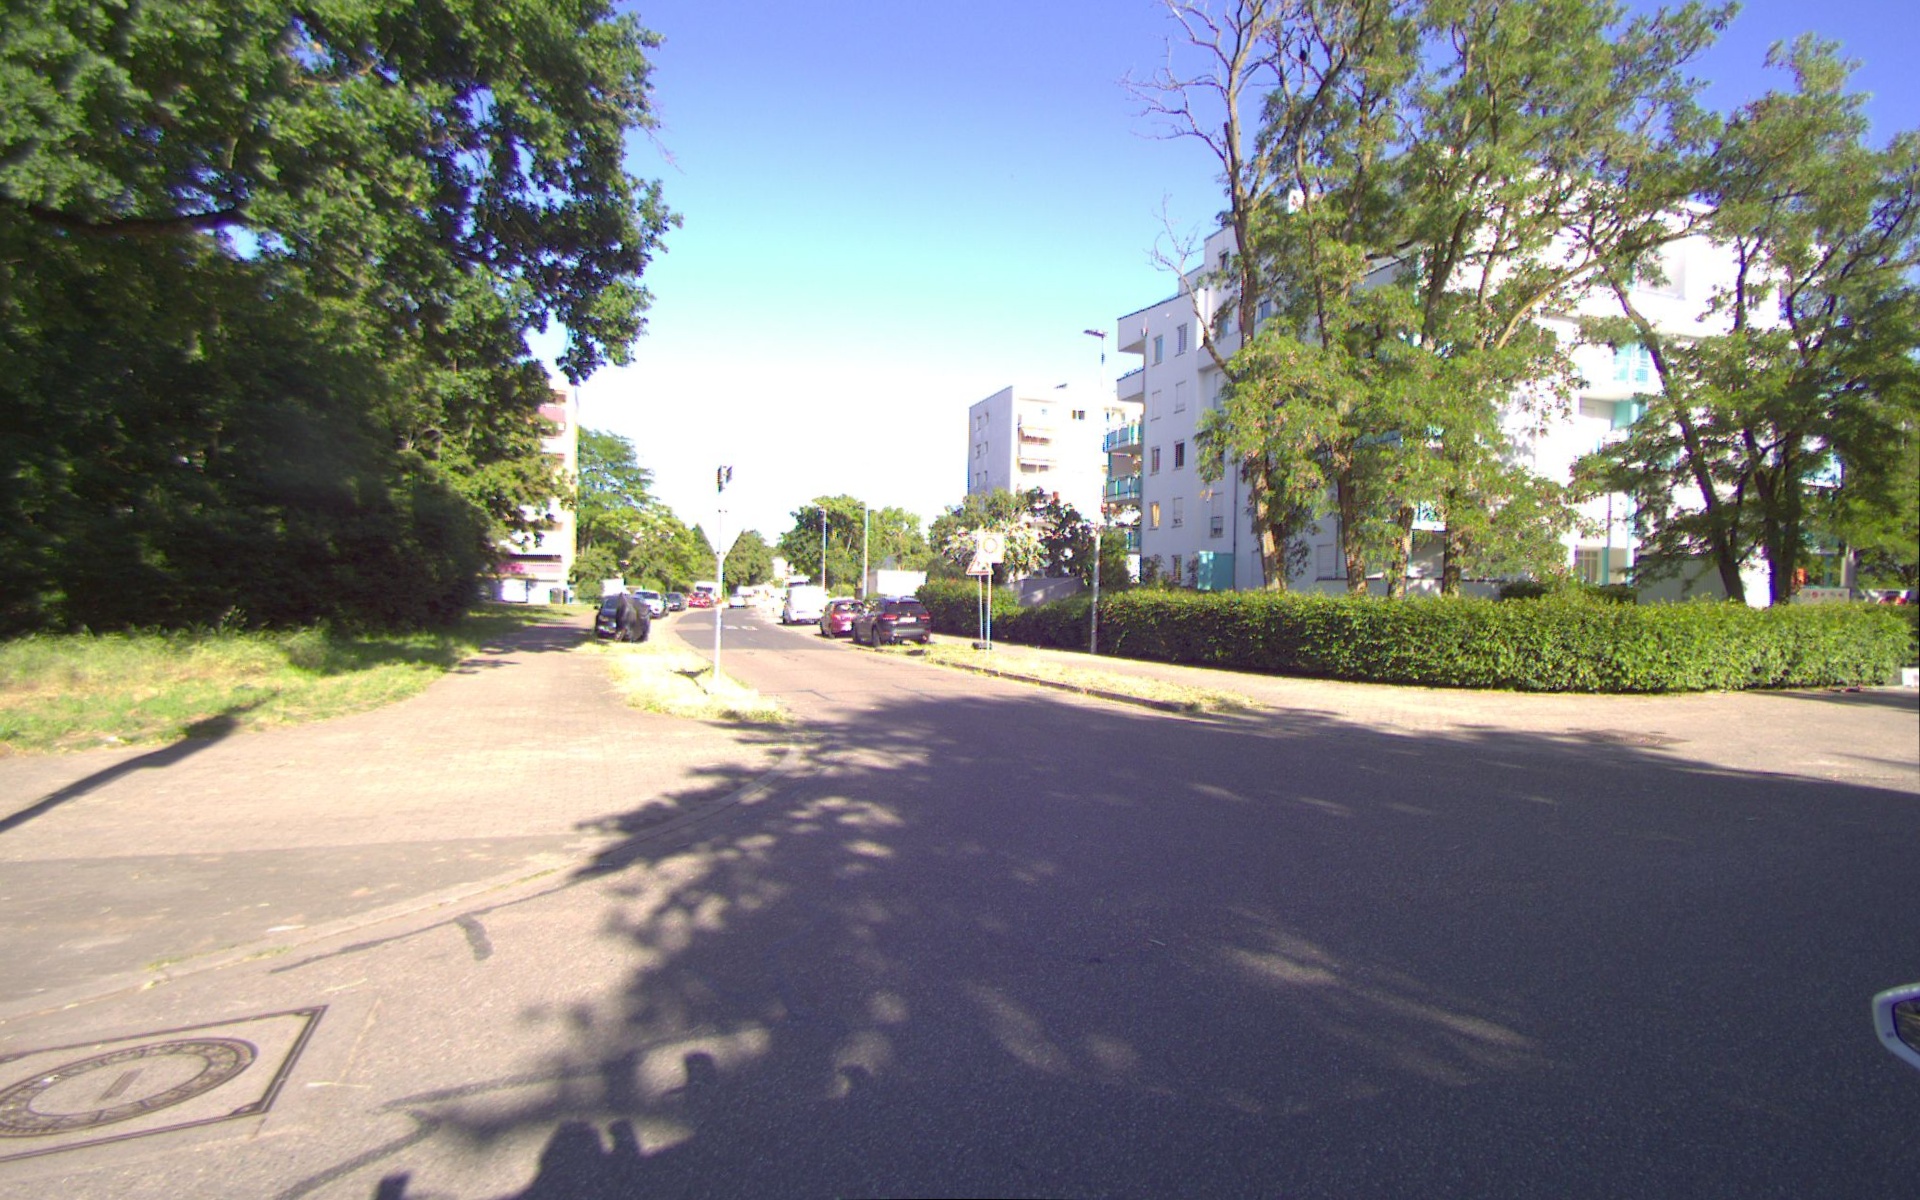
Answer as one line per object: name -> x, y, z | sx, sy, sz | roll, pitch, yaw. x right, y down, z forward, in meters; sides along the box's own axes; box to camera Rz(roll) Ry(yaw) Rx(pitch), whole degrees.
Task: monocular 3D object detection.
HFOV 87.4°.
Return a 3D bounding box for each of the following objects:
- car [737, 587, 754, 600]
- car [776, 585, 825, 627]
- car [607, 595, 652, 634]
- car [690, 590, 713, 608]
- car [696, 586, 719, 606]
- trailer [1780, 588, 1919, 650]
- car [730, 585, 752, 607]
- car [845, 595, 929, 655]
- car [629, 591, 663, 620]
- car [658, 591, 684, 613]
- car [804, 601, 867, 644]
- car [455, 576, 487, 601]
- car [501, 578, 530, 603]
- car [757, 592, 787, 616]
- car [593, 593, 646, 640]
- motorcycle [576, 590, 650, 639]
car -> -27.741, -0.837, 130.080 | 1.858, 1.662, 3.994 | 1, 0, -8
car -> -8.432, 0.303, 53.003 | 1.800, 2.088, 3.817 | 1, 1, -21
car -> -13.093, 0.534, 39.677 | 1.536, 1.410, 3.571 | 1, 1, -21
car -> -24.580, -0.120, 95.522 | 1.794, 1.617, 3.992 | 1, 0, -10
car -> -25.287, -0.442, 100.627 | 1.948, 1.925, 3.992 | 1, 0, -10
trailer -> 31.482, 0.667, 35.403 | 4.360, 2.070, 1.975 | 1, 0, -19
car -> -21.433, -0.382, 98.399 | 1.897, 2.040, 3.992 | 1, 1, -10
car -> -2.483, 0.791, 33.194 | 1.730, 1.808, 3.817 | 1, 1, -21
car -> -18.140, 0.298, 57.927 | 1.621, 1.578, 3.817 | 1, 1, -21
car -> -22.315, 0.112, 77.394 | 1.621, 1.578, 3.817 | 1, 1, -21
car -> -4.981, 0.854, 39.699 | 1.613, 1.531, 3.817 | 1, 1, -21
car -> -36.503, -0.837, 75.024 | 1.736, 1.767, 3.817 | 1, 1, -21
car -> -33.527, -0.717, 75.786 | 1.736, 1.767, 3.817 | 1, 1, -21
car -> -12.808, 0.258, 68.271 | 1.497, 1.486, 3.059 | 1, 1, -19
car -> -11.222, 0.517, 32.969 | 1.536, 1.410, 3.571 | 1, 1, -21
motorcycle -> -10.010, 0.411, 29.020 | 0.665, 1.362, 1.953 | 2, 1, 38
